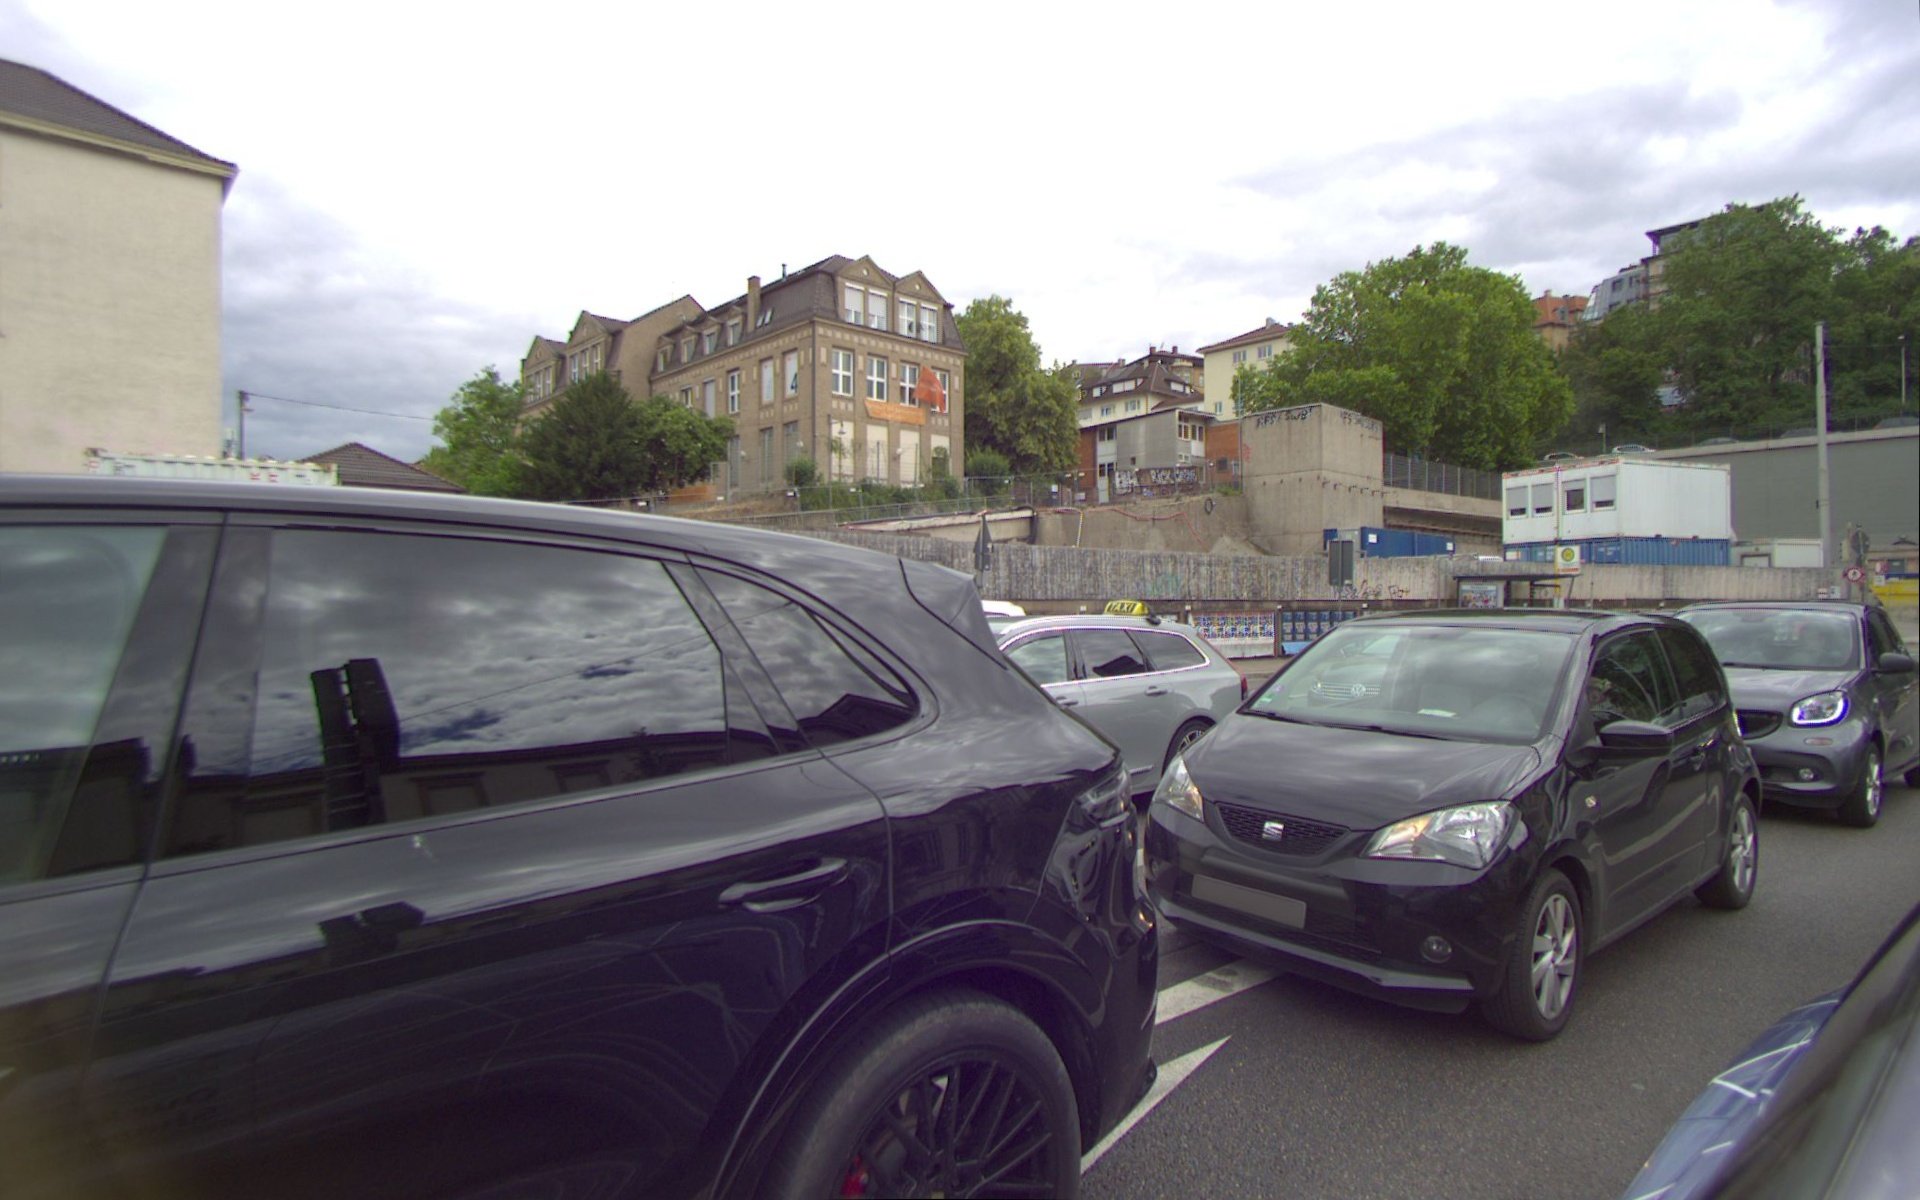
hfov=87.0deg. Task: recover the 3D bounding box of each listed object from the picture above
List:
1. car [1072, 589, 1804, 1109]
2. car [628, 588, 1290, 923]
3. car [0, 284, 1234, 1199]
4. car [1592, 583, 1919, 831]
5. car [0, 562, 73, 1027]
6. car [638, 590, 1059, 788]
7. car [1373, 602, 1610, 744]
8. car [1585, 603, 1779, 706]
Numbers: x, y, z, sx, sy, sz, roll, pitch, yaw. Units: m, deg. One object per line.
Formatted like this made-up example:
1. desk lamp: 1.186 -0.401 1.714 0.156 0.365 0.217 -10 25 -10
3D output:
1. car: 2.439 0.697 4.788 3.636 1.476 1.827 -1 0 -41
2. car: 0.272 0.749 7.258 4.725 1.645 1.827 -1 0 -41
3. car: -1.619 0.558 1.597 4.406 1.737 1.827 -1 0 -41
4. car: 6.711 0.681 8.182 3.511 1.563 1.720 0 0 -40
5. car: -5.301 0.703 3.036 3.930 1.645 1.679 -1 0 -41
6. car: -1.004 0.725 10.475 4.136 1.645 1.679 -1 0 -41
7. car: 6.390 0.769 12.114 2.667 1.449 1.664 -1 0 -41
8. car: 11.511 0.771 16.051 3.740 1.383 1.679 -1 0 -41
